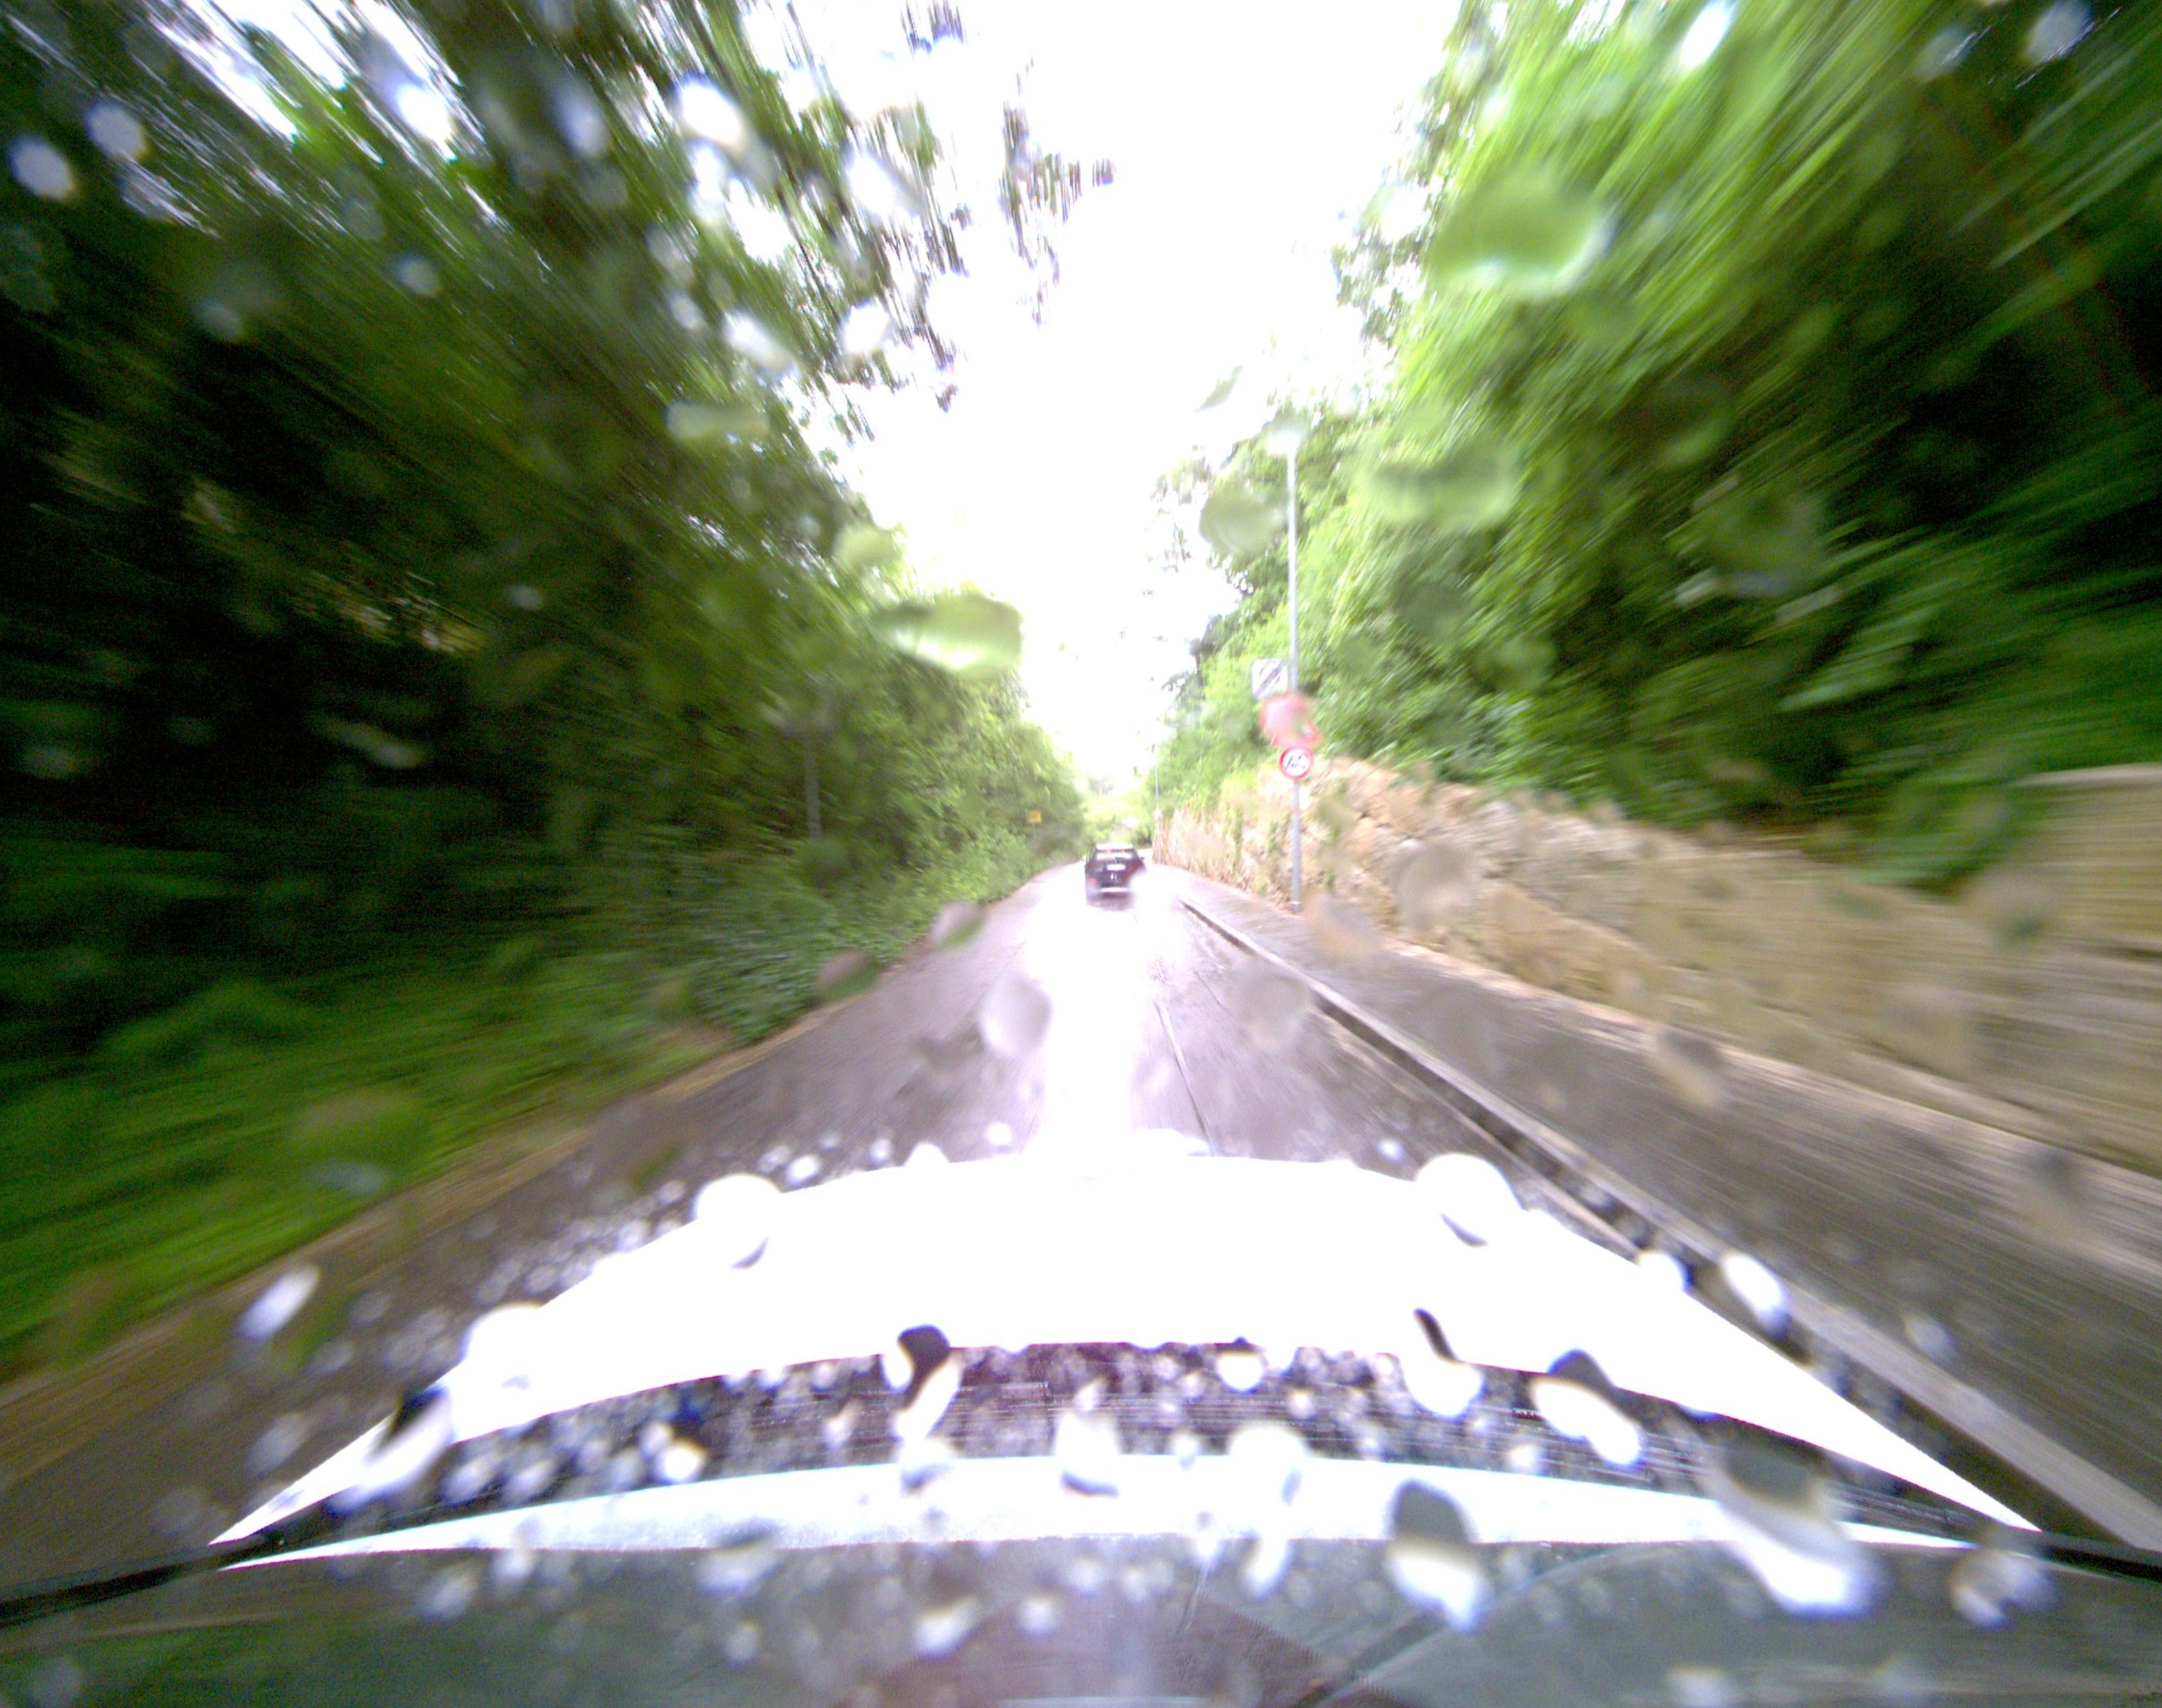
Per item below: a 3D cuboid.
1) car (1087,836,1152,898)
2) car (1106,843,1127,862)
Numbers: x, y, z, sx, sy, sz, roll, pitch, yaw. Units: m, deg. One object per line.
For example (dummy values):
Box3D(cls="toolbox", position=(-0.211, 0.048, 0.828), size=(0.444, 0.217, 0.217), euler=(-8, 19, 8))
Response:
Box3D(cls="car", position=(1.061, 0.307, 24.109), size=(1.694, 1.449, 4.001), euler=(-2, 4, 0))
Box3D(cls="car", position=(3.349, -0.149, 76.799), size=(1.856, 1.743, 4.002), euler=(0, 0, 2))
